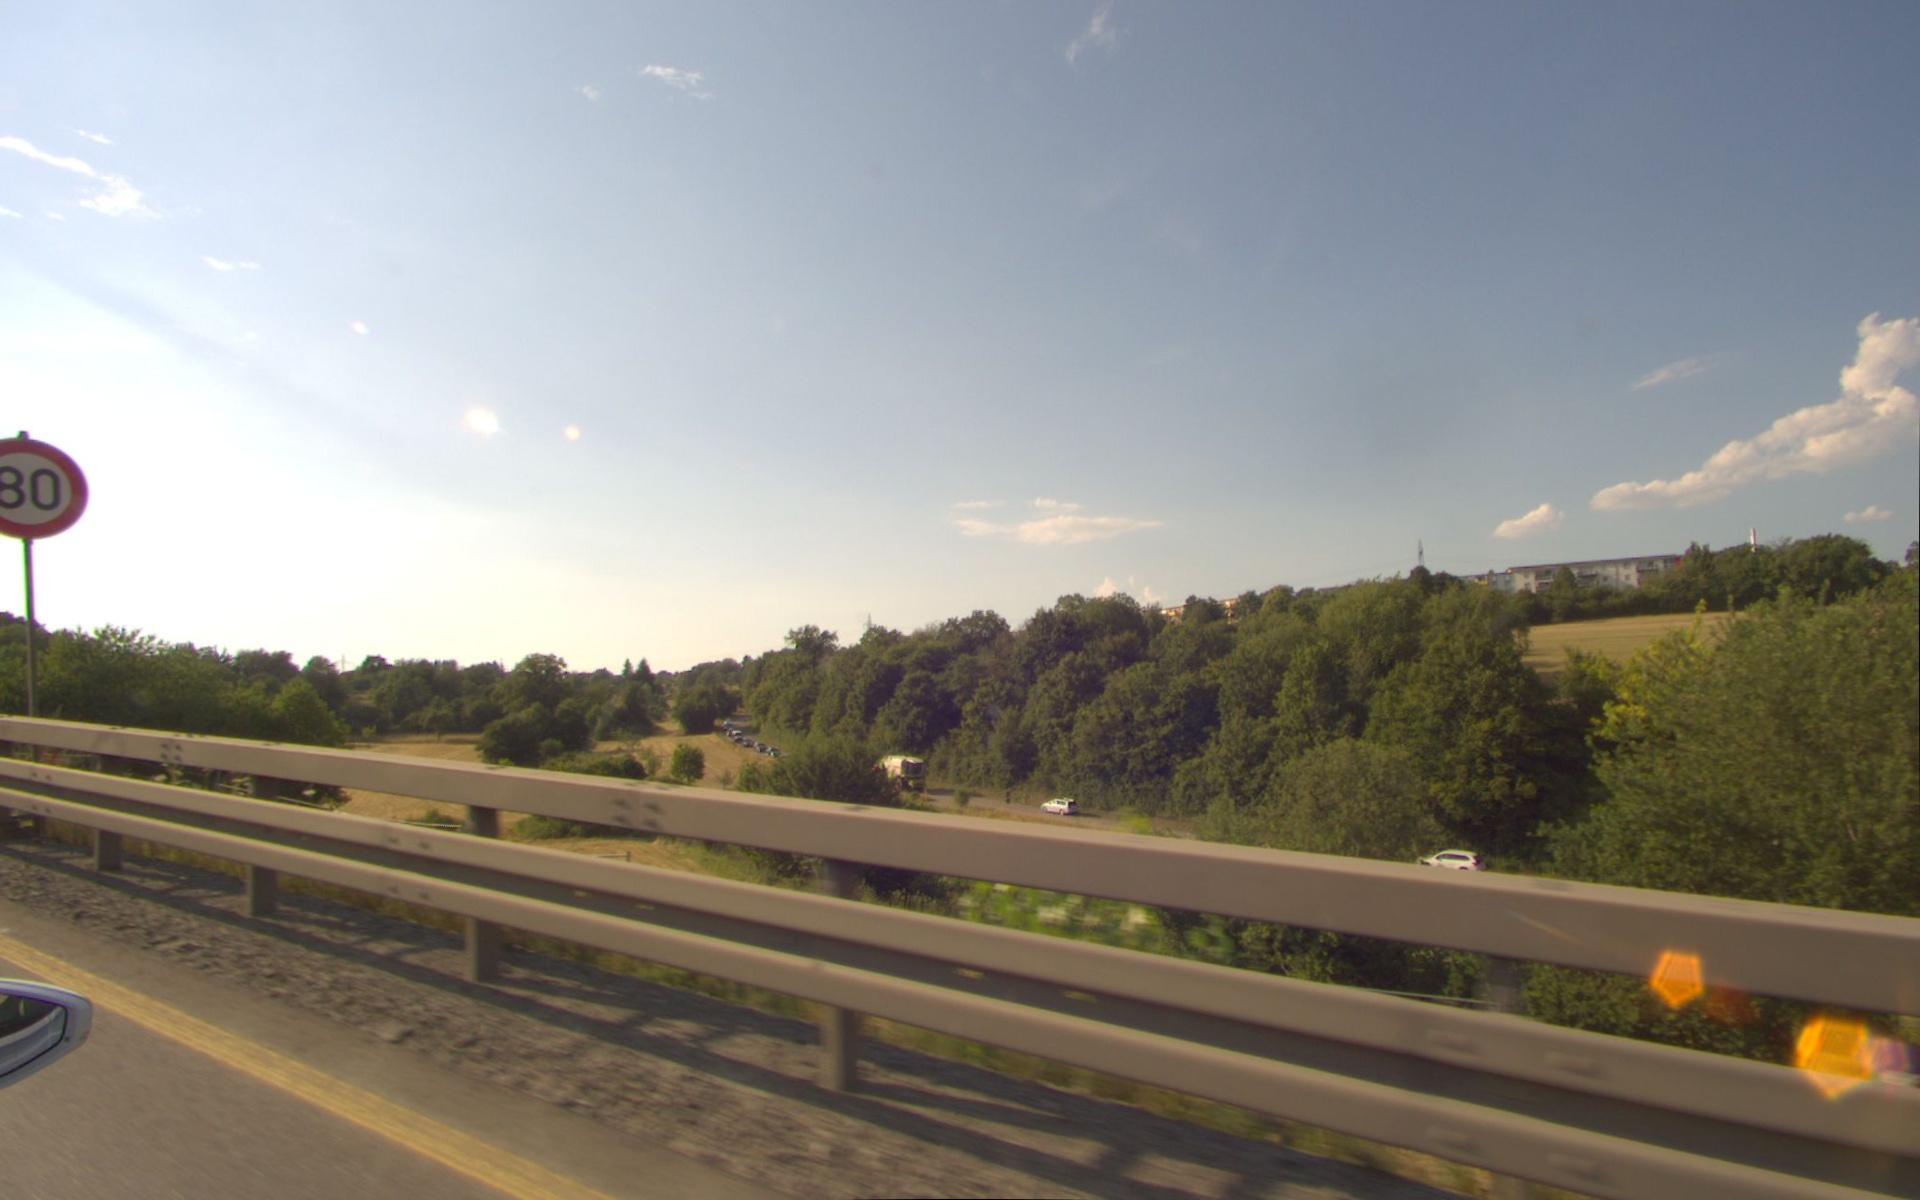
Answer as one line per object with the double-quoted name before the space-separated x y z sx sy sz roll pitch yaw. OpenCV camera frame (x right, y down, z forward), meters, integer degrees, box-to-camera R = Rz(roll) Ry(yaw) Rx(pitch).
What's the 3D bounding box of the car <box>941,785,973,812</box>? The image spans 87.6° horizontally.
"car" -0.323 20.769 104.856 1.853 2.039 3.985 0 -1 -26
